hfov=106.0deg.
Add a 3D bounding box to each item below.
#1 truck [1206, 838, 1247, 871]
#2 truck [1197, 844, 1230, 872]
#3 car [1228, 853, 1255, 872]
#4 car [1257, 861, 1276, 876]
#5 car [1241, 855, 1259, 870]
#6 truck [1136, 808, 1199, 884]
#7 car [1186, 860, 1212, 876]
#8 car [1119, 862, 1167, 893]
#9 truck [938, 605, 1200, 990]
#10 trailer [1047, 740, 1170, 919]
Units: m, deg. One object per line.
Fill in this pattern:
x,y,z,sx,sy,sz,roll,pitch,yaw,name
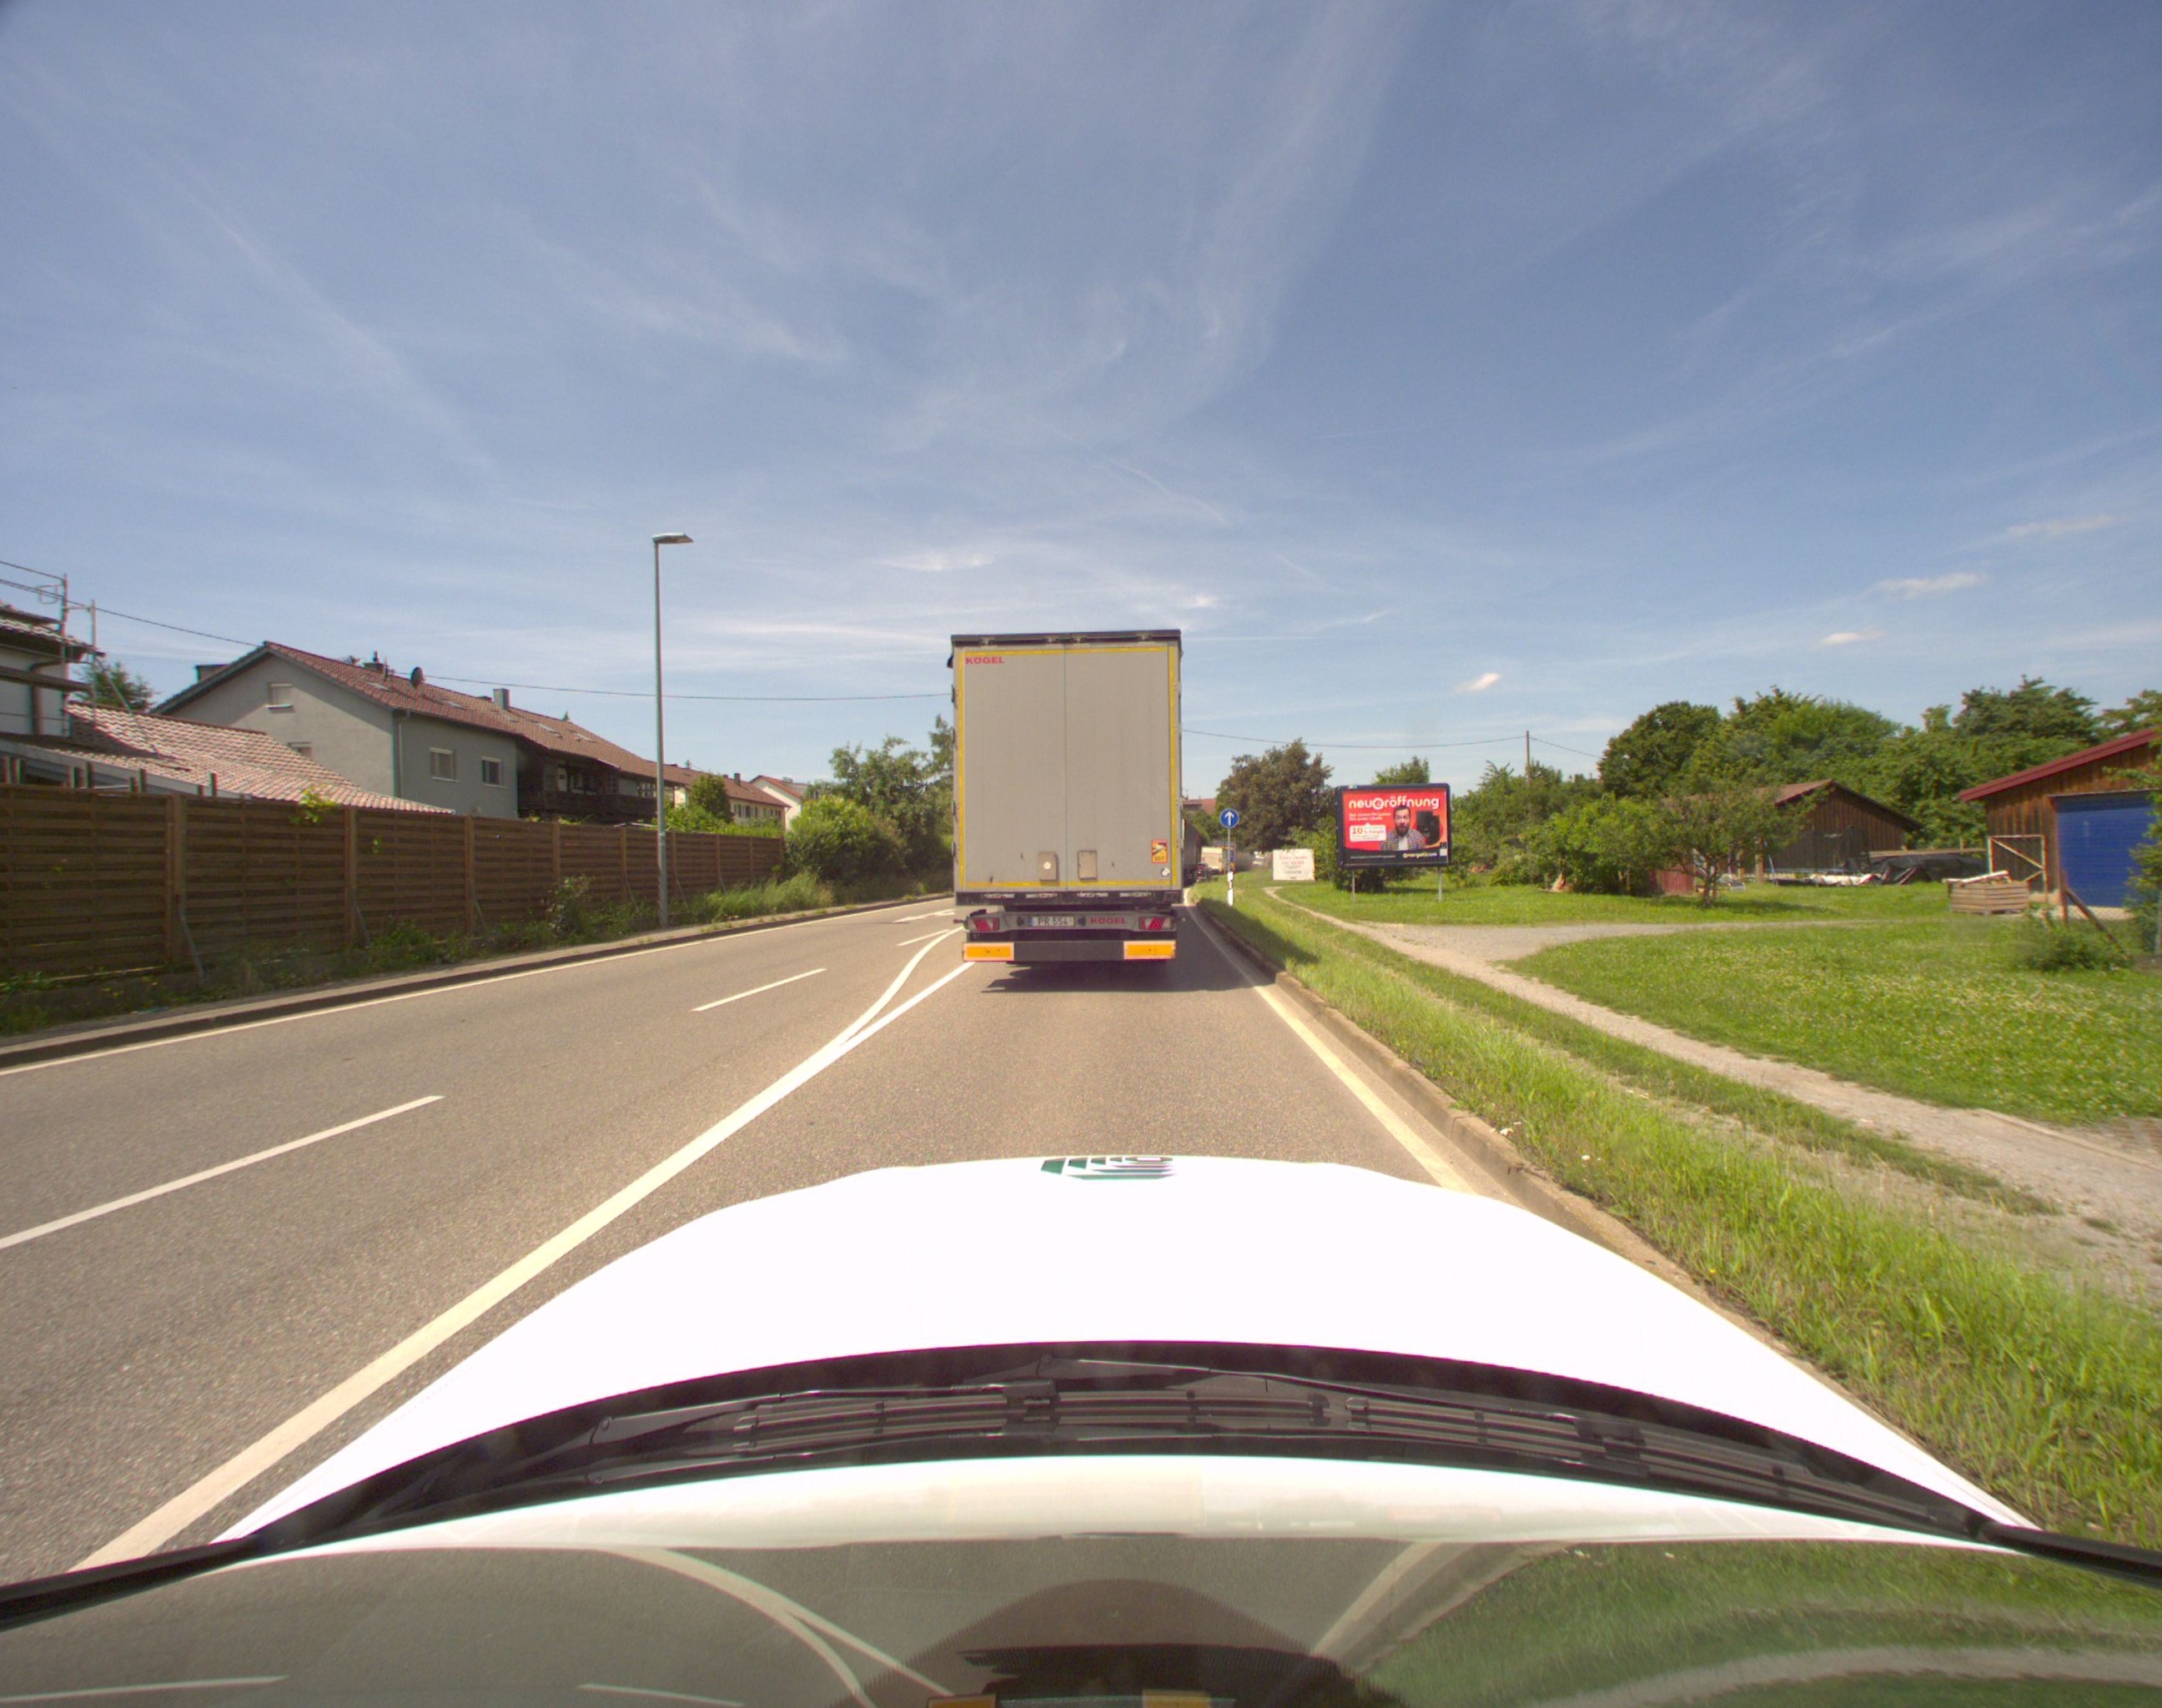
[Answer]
16.708,0.040,93.127,3.406,3.604,9.396,-1,0,17,truck
13.575,0.427,83.125,2.524,2.803,6.057,-1,-1,16,truck
20.138,0.992,102.010,2.512,2.277,6.410,0,0,18,car
26.959,2.099,118.412,1.976,2.014,4.021,-1,-1,22,car
22.966,1.161,110.353,1.978,2.014,4.018,-1,-1,17,car
6.074,-0.299,54.217,2.742,4.289,16.464,0,-1,11,truck
10.939,1.283,74.998,1.979,1.376,4.015,0,-1,14,car
2.871,1.033,36.828,1.808,1.346,3.857,0,-1,9,car
0.293,-0.608,14.515,2.809,4.127,11.457,0,0,4,truck
0.921,-0.565,22.203,2.812,4.111,6.553,-1,0,5,trailer
